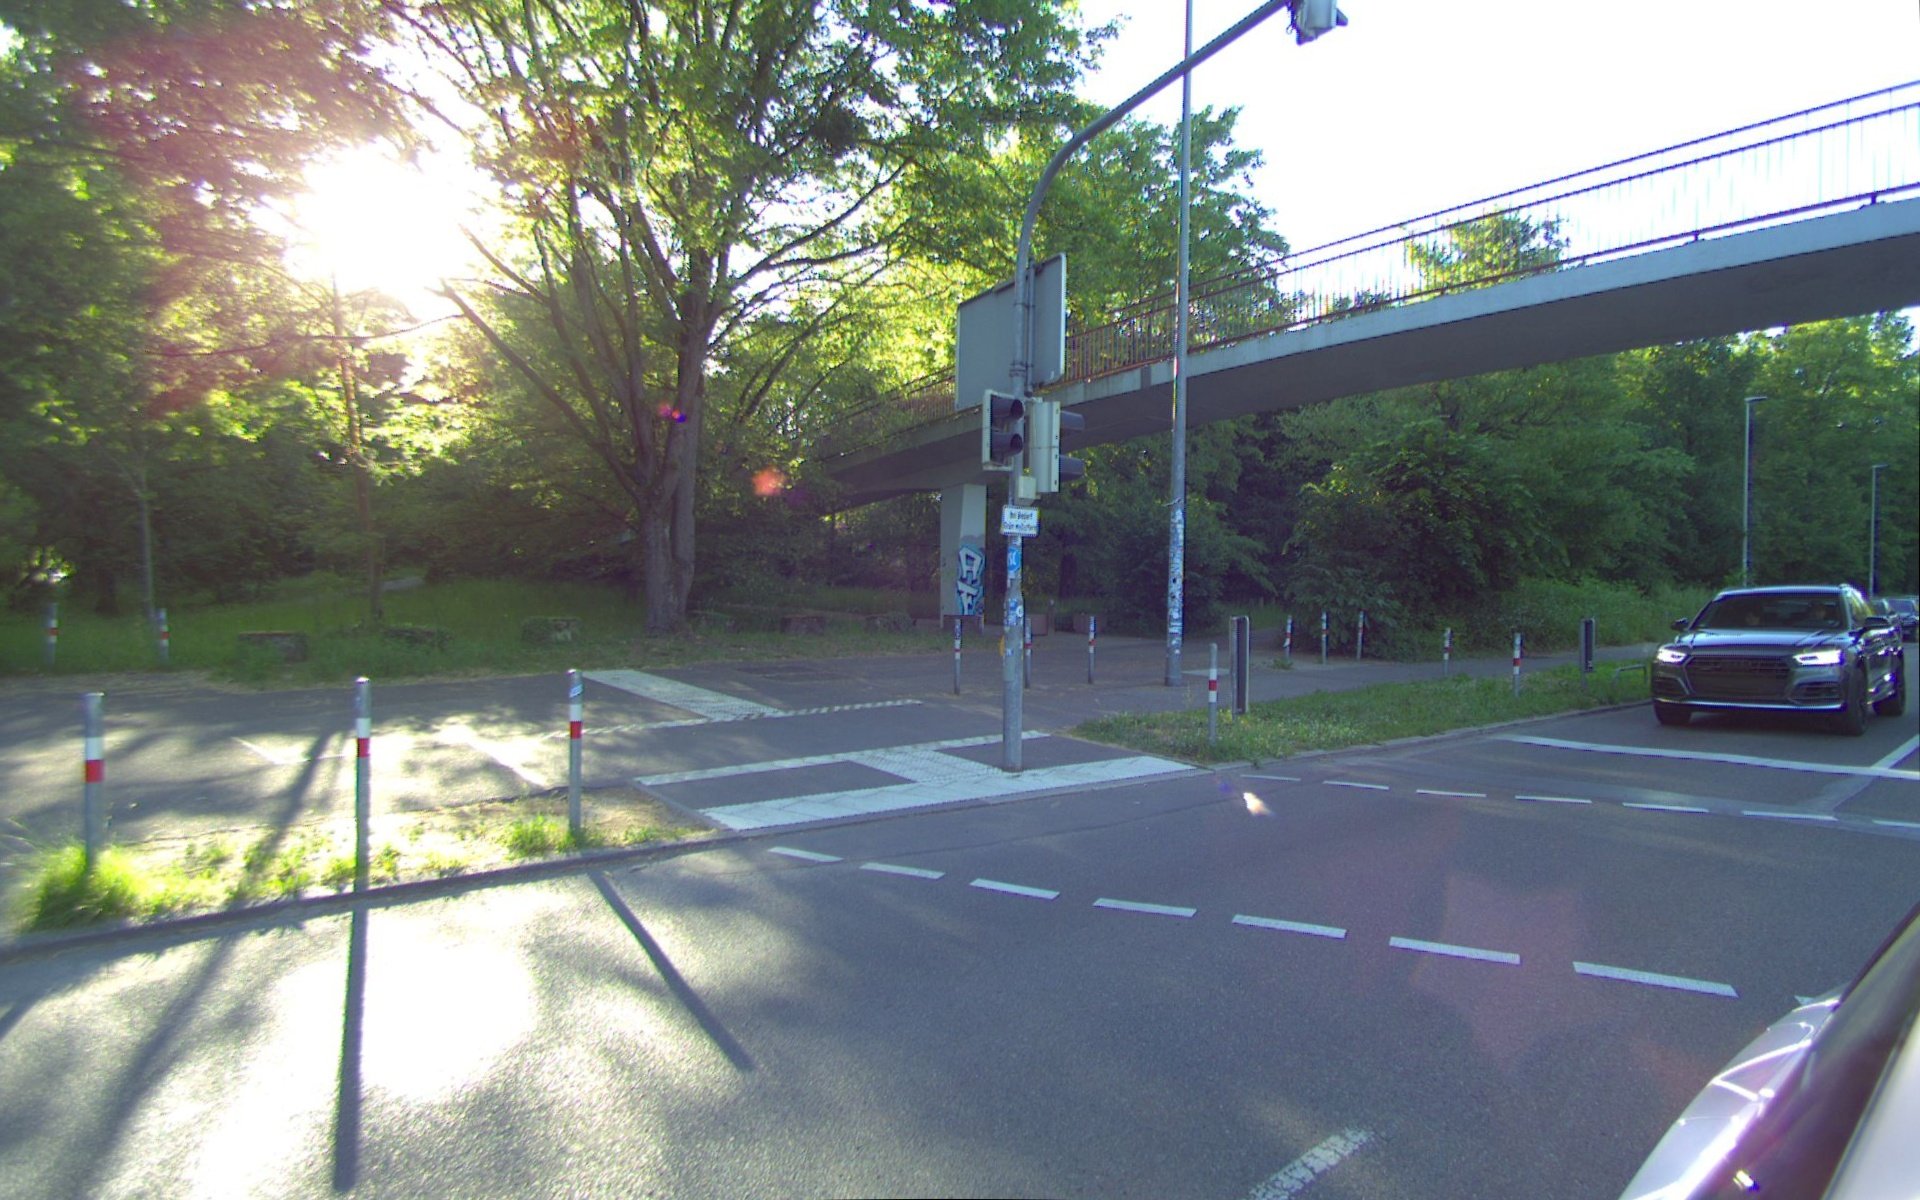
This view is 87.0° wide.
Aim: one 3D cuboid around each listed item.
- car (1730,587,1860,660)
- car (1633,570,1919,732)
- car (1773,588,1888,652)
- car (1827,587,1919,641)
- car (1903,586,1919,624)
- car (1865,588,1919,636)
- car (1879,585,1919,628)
[{"bbox_3d":[19.569,0.478,23.663,4.054,1.527,1.693,-1,1,-41],"label":"car"},{"bbox_3d":[10.052,0.521,12.299,4.286,1.628,1.991,-1,-2,-41],"label":"car"},{"bbox_3d":[23.080,0.459,26.790,3.906,1.526,1.720,-1,2,-41],"label":"car"},{"bbox_3d":[28.348,0.379,31.274,4.080,1.526,1.736,-1,2,-41],"label":"car"},{"bbox_3d":[40.564,0.211,41.910,4.319,1.526,1.736,-1,2,-41],"label":"car"},{"bbox_3d":[32.539,0.389,34.709,4.064,1.526,1.703,-1,2,-41],"label":"car"},{"bbox_3d":[36.521,0.233,38.552,4.152,1.526,1.736,-1,2,-41],"label":"car"}]
